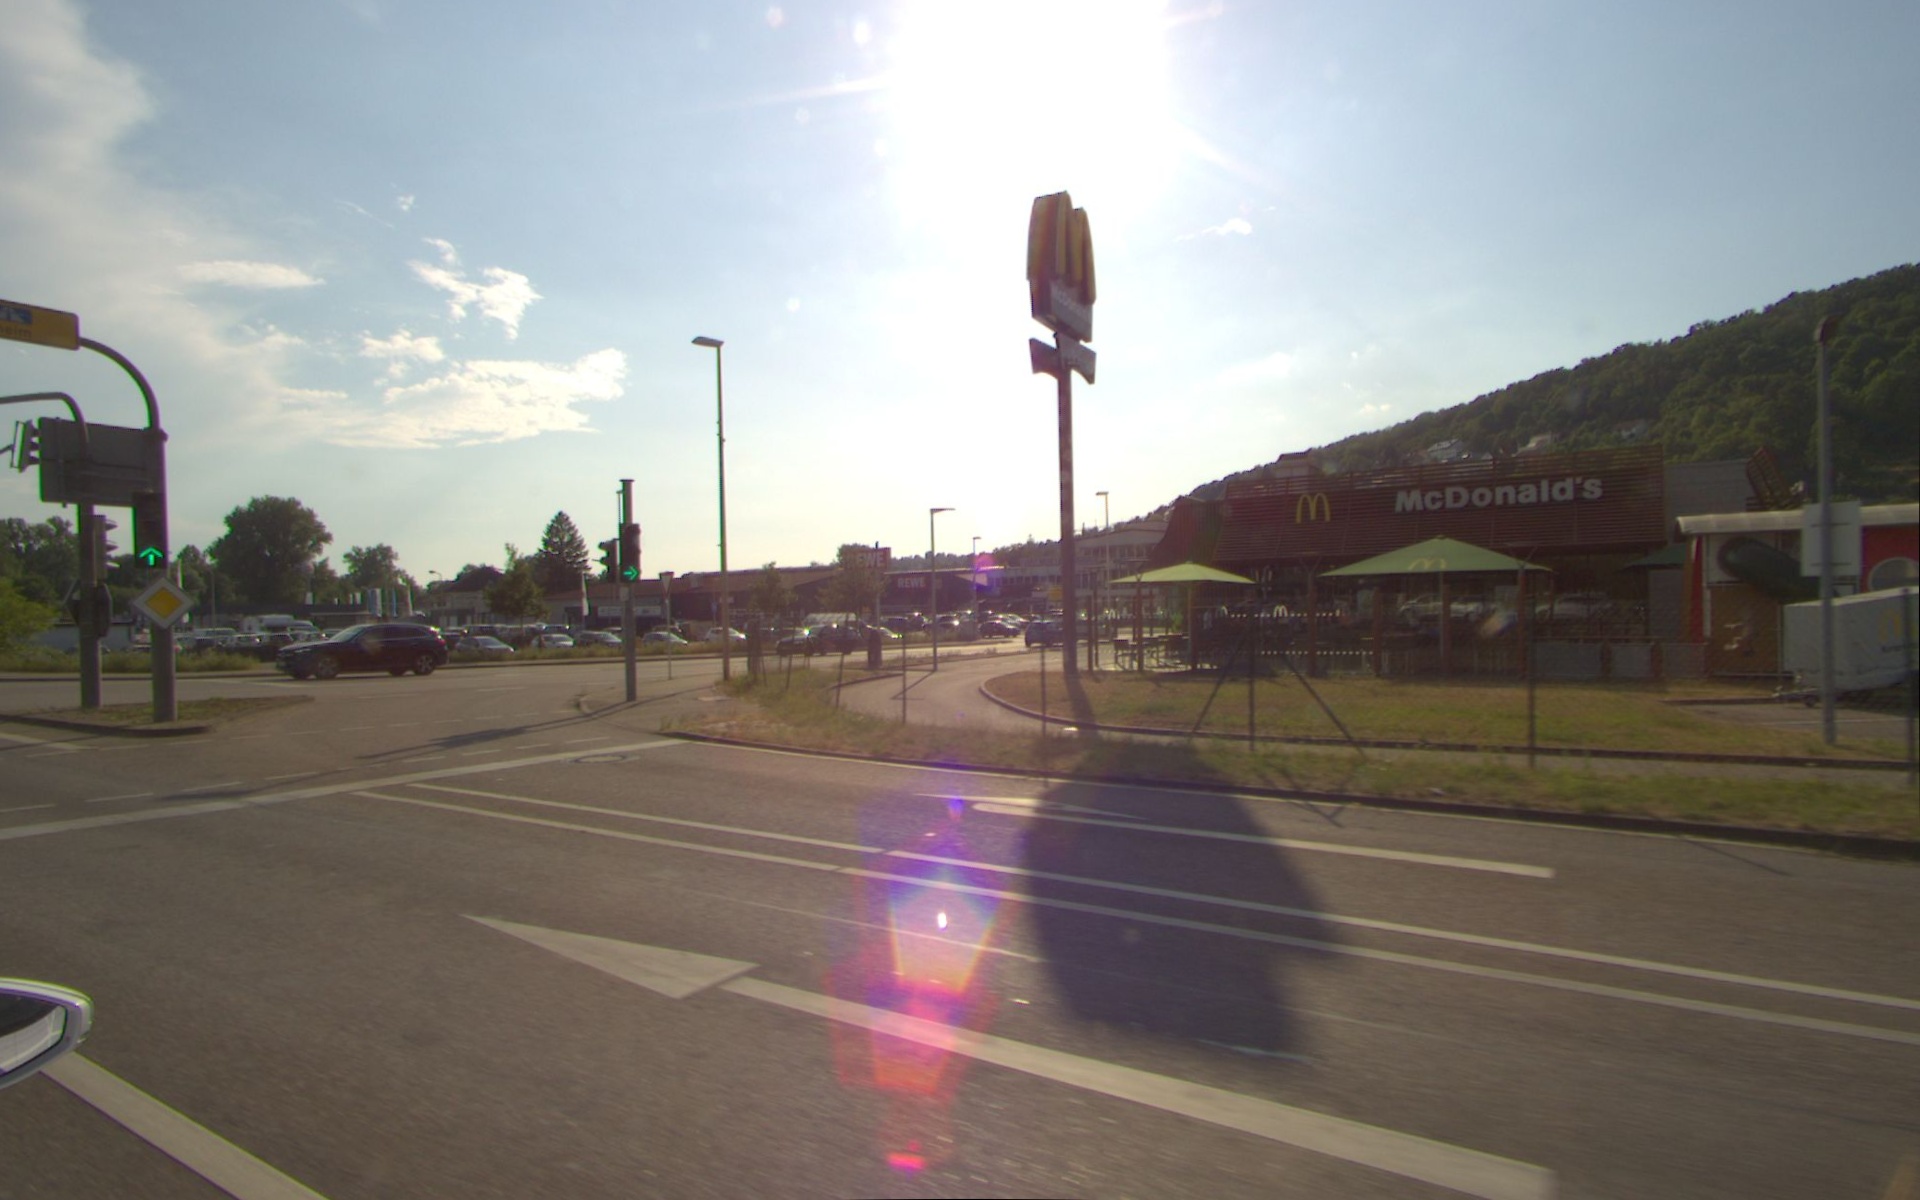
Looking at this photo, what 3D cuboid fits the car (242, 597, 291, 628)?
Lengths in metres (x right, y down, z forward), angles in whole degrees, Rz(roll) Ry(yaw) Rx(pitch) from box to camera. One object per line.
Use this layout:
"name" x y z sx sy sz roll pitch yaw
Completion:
"car" -60.300 1.113 87.041 5.396 2.582 1.751 -1 -2 35

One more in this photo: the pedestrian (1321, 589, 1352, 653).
"pedestrian" 12.106 0.677 32.187 0.753 2.039 0.731 -1 -1 36

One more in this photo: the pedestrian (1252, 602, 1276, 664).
"pedestrian" 10.186 1.104 33.534 0.750 2.039 0.735 0 -1 17

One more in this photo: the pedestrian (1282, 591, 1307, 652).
"pedestrian" 11.379 0.731 34.068 0.722 2.039 0.763 0 -1 15

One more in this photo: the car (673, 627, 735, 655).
"car" -15.669 2.507 61.265 3.705 1.650 1.590 -1 -2 33

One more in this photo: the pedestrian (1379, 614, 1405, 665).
"pedestrian" 11.594 1.064 26.850 0.588 1.354 0.671 -1 -1 28

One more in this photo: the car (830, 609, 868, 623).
"car" -13.742 1.939 123.803 4.517 1.609 1.829 -1 1 30

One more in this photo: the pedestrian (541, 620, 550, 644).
"pedestrian" -25.226 1.956 60.935 0.375 1.477 0.564 1 -1 -33

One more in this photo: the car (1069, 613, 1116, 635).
"car" 9.005 1.618 67.752 1.668 1.438 3.631 -1 -2 36

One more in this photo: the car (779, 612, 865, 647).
"car" -6.542 1.414 47.690 1.675 1.616 3.968 -1 -2 41

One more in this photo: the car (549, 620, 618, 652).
"car" -20.370 1.949 54.139 3.705 1.650 1.590 -1 -2 33

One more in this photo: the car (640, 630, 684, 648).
"car" -27.327 3.551 91.868 3.942 1.527 1.723 0 -1 31

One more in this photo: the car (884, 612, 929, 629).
"car" -5.479 2.098 102.688 4.276 1.584 1.829 -1 1 30

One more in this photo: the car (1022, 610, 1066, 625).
"car" 8.324 1.762 99.340 3.948 1.438 1.838 -2 -2 36

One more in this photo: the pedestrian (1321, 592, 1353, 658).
"pedestrian" 11.826 0.780 31.408 0.753 2.039 0.731 -1 -1 36

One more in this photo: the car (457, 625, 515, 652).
"car" -29.628 2.388 62.611 3.705 1.650 1.590 -1 -2 33

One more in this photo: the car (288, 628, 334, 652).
"car" -47.394 2.918 73.128 3.301 1.644 1.607 -1 -2 33

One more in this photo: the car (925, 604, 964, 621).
"car" -1.718 1.372 111.804 3.942 1.772 1.991 -1 -2 31

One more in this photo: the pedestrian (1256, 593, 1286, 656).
"pedestrian" 10.095 0.794 32.557 0.748 2.039 0.736 0 -1 1

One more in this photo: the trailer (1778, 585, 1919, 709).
"trailer" 15.844 0.741 16.594 3.412 1.974 1.348 0 2 0

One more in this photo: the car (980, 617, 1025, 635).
"car" 4.223 2.611 99.515 3.942 1.772 1.991 -1 -2 31

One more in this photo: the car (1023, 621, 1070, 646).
"car" 5.372 2.072 62.010 1.555 1.505 3.306 -1 -2 34

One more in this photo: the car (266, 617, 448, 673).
"car" -18.551 1.367 31.008 1.973 1.605 4.445 -1 -2 34

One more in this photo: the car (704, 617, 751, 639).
"car" -19.585 2.356 84.423 3.704 1.772 1.795 -1 -2 32

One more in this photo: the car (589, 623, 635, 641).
"car" -30.701 2.819 88.258 3.942 1.527 1.723 -1 -2 31

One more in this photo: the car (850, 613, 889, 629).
"car" -9.560 2.194 105.640 3.852 1.584 1.827 -1 1 34

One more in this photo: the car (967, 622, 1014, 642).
"car" 2.697 2.876 89.277 3.932 1.750 1.603 -1 -2 22

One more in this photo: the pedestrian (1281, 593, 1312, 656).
"pedestrian" 11.013 0.820 32.803 0.748 2.039 0.736 0 -1 1
